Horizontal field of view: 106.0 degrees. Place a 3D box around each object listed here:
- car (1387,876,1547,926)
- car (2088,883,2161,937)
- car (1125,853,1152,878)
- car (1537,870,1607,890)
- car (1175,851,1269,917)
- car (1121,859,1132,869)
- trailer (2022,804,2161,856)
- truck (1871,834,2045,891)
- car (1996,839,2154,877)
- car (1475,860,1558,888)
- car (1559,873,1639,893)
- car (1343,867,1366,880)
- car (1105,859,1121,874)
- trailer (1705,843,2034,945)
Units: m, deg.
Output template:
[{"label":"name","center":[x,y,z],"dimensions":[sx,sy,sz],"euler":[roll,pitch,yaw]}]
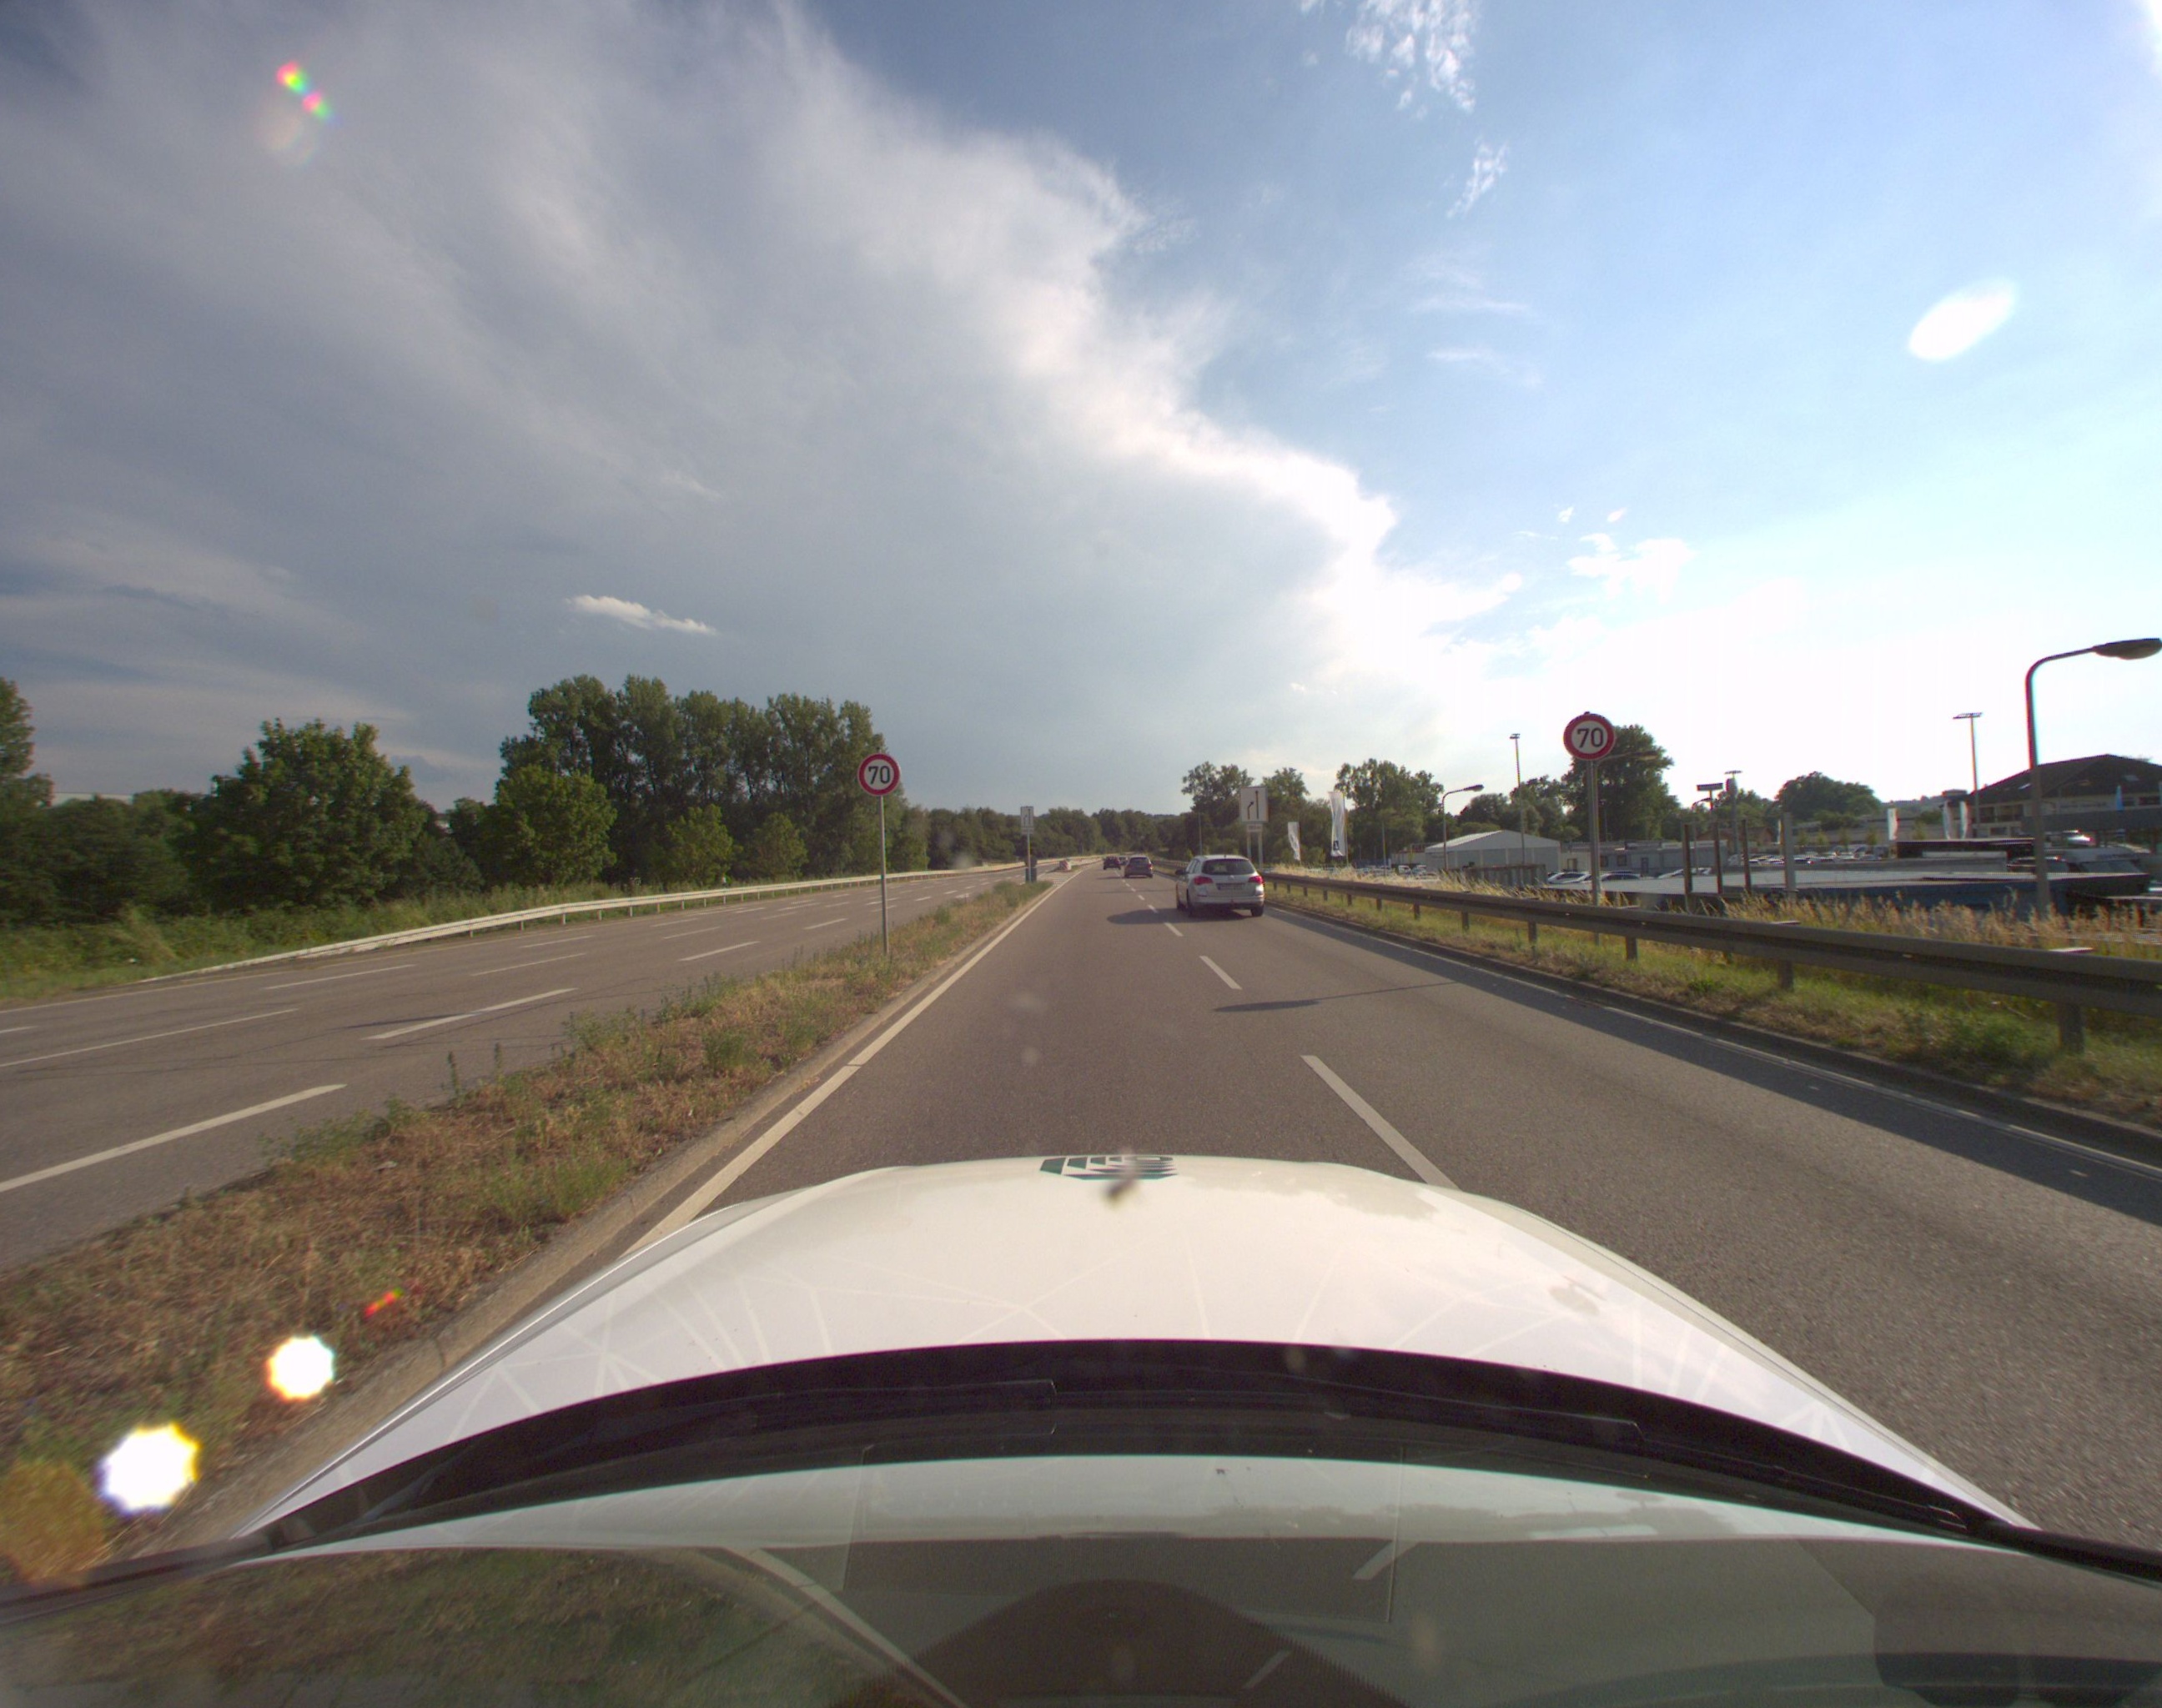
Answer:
[{"label":"car","center":[16.399,1.987,34.876],"dimensions":[5.854,2.014,2.002],"euler":[0,-1,4]},{"label":"car","center":[33.317,1.695,24.334],"dimensions":[1.684,1.570,3.744],"euler":[0,-1,-25]},{"label":"car","center":[3.714,0.771,52.922],"dimensions":[1.660,1.574,4.003],"euler":[0,-1,3]},{"label":"car","center":[38.936,2.033,64.713],"dimensions":[4.391,1.543,1.805],"euler":[-1,-1,9]},{"label":"car","center":[3.401,0.713,20.337],"dimensions":[1.802,1.486,4.002],"euler":[0,-1,2]},{"label":"car","center":[6.523,1.431,116.934],"dimensions":[1.486,1.476,3.361],"euler":[0,-1,3]},{"label":"trailer","center":[45.210,-0.994,35.363],"dimensions":[1.983,2.022,6.296],"euler":[-1,-1,7]},{"label":"truck","center":[40.044,0.424,37.495],"dimensions":[1.984,2.370,5.978],"euler":[-1,-1,6]},{"label":"car","center":[42.615,0.201,35.091],"dimensions":[1.785,1.543,4.354],"euler":[-1,-1,7]},{"label":"car","center":[28.344,1.291,53.109],"dimensions":[4.391,1.714,1.805],"euler":[-1,-1,9]},{"label":"car","center":[36.244,2.017,57.094],"dimensions":[4.391,1.369,1.805],"euler":[-1,-1,9]},{"label":"car","center":[35.368,2.484,105.369],"dimensions":[1.870,1.636,4.737],"euler":[-1,-1,6]},{"label":"car","center":[3.265,1.298,82.615],"dimensions":[1.486,1.476,3.361],"euler":[0,-1,3]},{"label":"trailer","center":[27.235,1.366,28.568],"dimensions":[7.839,3.323,3.364],"euler":[-1,-1,6]}]
